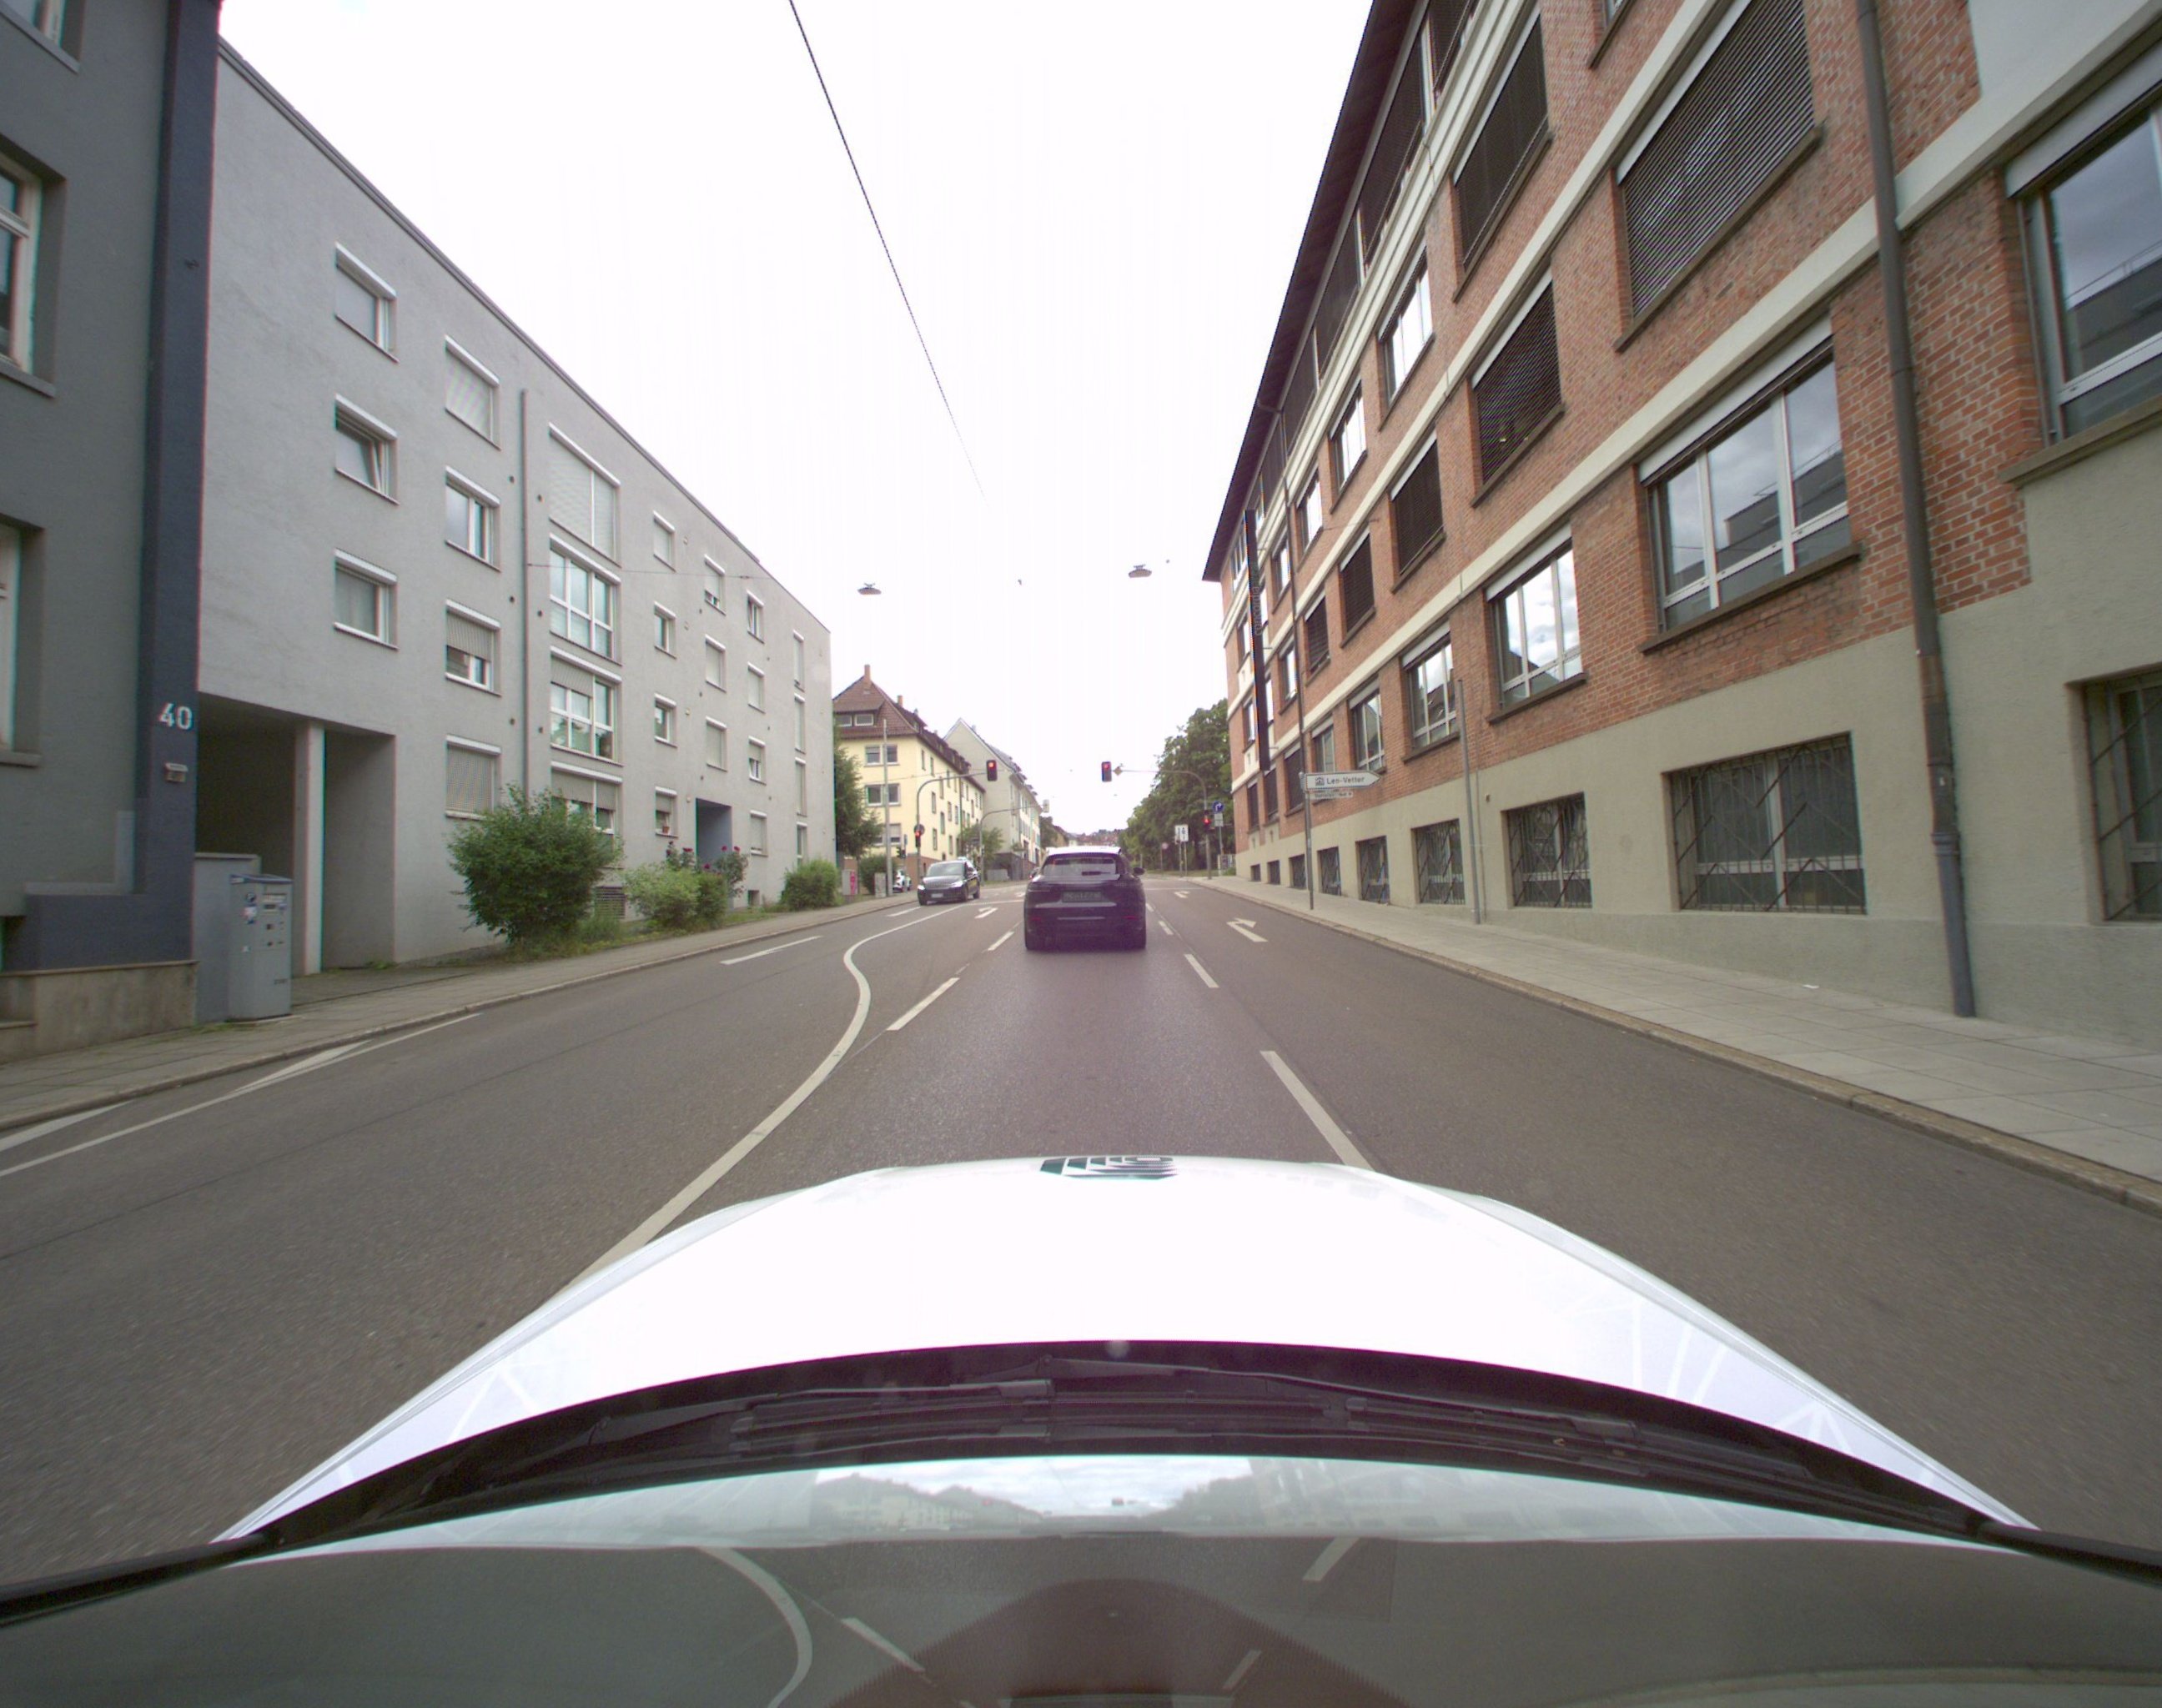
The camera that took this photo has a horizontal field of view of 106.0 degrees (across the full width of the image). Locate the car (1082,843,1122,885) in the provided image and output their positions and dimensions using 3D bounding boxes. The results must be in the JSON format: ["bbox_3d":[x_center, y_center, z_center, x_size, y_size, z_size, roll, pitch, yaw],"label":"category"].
[{"bbox_3d":[1.127,0.488,42.648,1.957,2.042,4.137,-1,0,2],"label":"car"}]

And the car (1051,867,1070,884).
[{"bbox_3d":[-2.182,2.348,88.956,1.697,1.587,3.938,-5,0,2],"label":"car"}]

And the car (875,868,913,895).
[{"bbox_3d":[-12.598,1.831,55.055,1.686,1.555,3.763,-5,0,-2],"label":"car"}]

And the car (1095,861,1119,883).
[{"bbox_3d":[2.103,1.432,64.772,1.820,1.605,4.137,-1,0,2],"label":"car"}]

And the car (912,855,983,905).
[{"bbox_3d":[-5.118,0.955,31.847,1.777,1.706,4.309,-5,0,2],"label":"car"}]

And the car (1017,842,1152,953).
[{"bbox_3d":[0.141,0.660,14.545,2.040,1.666,4.269,-1,0,2],"label":"car"}]

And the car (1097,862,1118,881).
[{"bbox_3d":[2.442,1.567,73.644,1.820,1.605,3.861,-1,0,2],"label":"car"}]

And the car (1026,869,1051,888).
[{"bbox_3d":[-3.577,2.058,69.517,1.667,1.400,3.796,-5,0,2],"label":"car"}]
